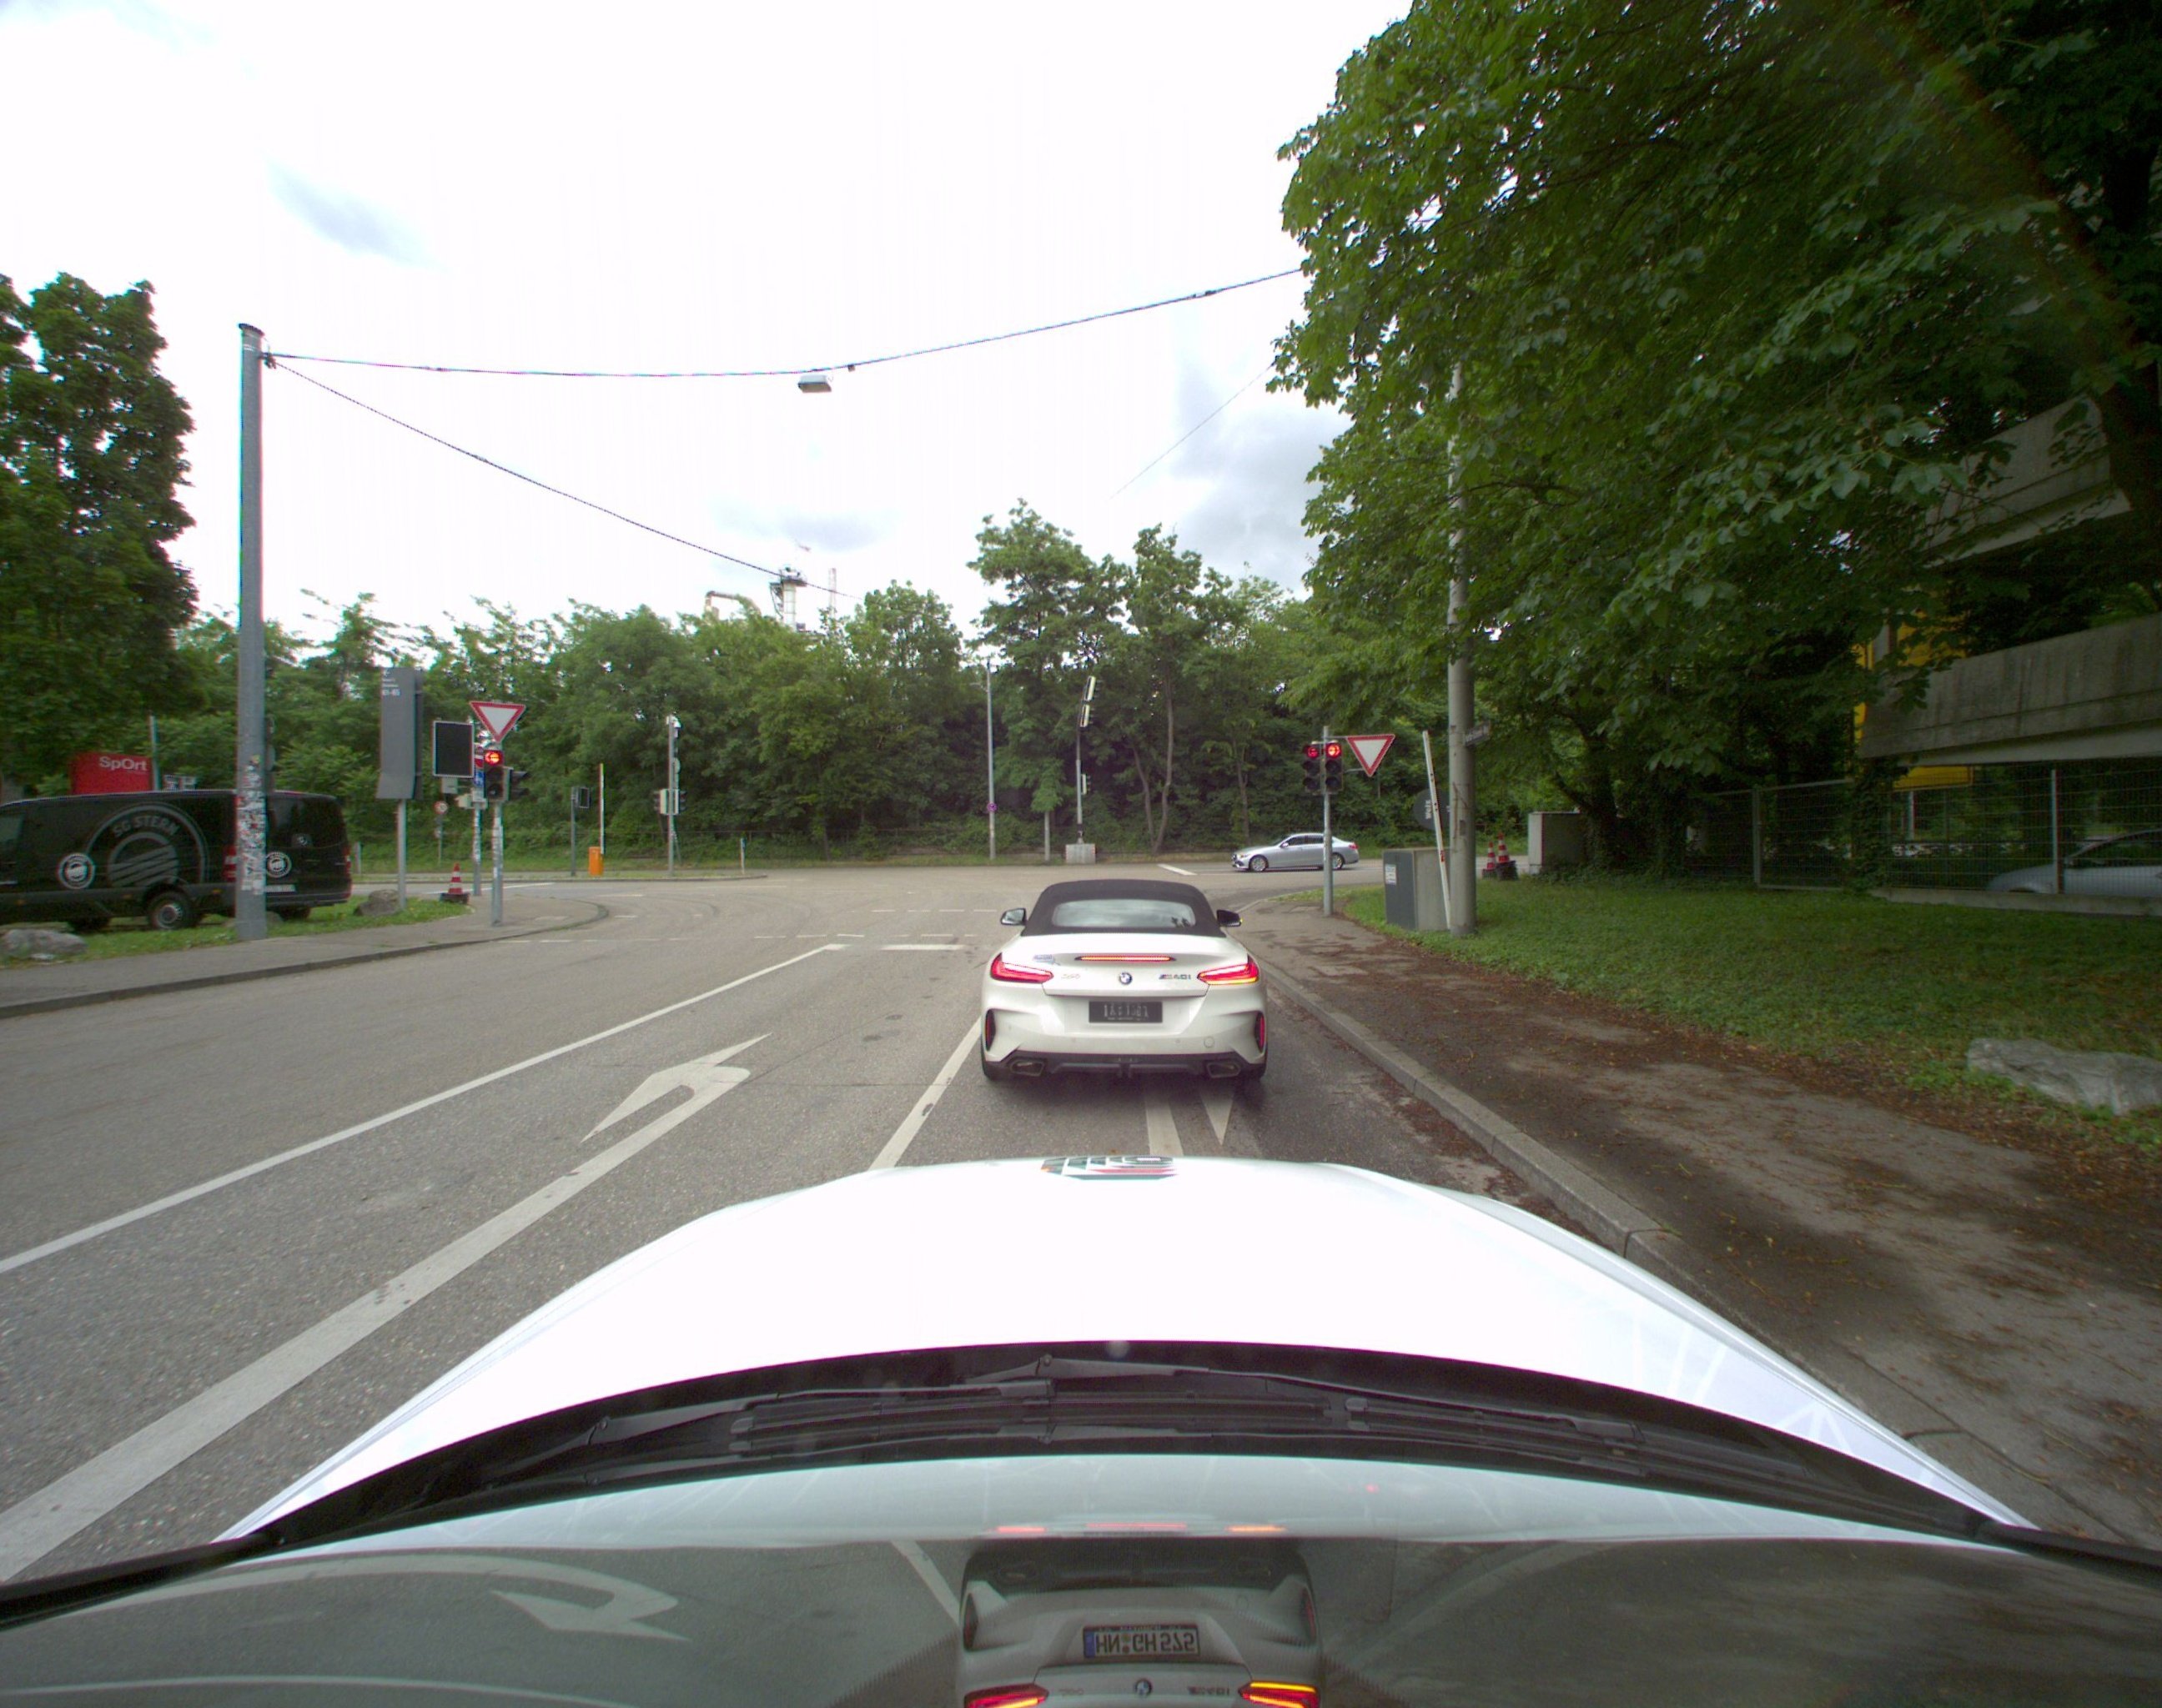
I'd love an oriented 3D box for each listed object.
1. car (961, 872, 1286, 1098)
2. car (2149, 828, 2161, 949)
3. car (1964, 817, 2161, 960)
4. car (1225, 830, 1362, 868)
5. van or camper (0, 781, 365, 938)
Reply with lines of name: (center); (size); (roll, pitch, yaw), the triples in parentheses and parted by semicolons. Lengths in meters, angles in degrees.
car: (0.241, 0.785, 6.577); (1.822, 1.257, 3.998); (0, -1, 0)
car: (16.005, 0.451, 9.733); (1.574, 1.708, 3.770); (0, -1, 2)
car: (13.612, 0.424, 10.041); (1.475, 1.708, 3.720); (0, -1, 2)
car: (8.019, -0.219, 31.009); (4.738, 1.333, 1.833); (-1, 2, -2)
van or camper: (-15.892, 0.154, 13.940); (5.513, 2.314, 2.063); (-2, -2, 2)
